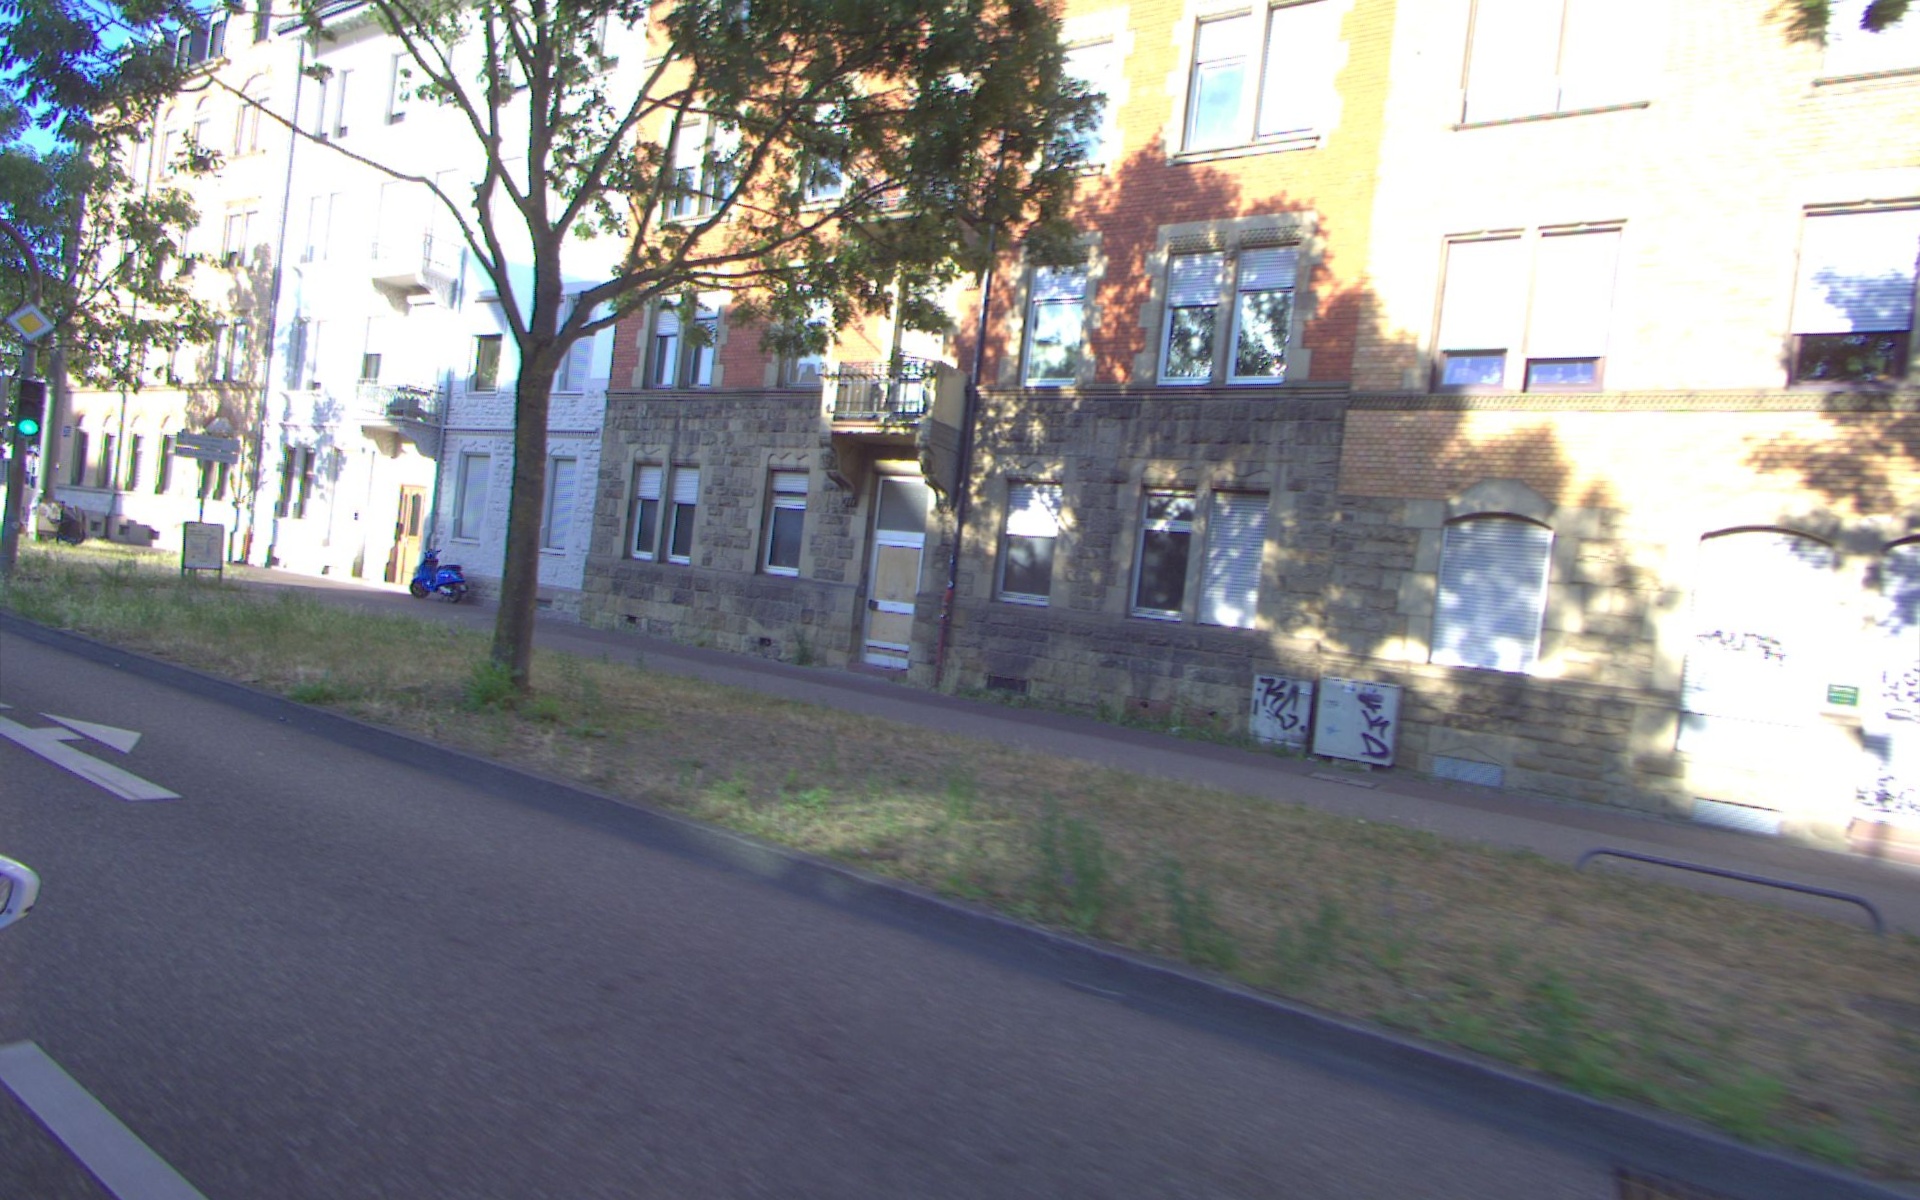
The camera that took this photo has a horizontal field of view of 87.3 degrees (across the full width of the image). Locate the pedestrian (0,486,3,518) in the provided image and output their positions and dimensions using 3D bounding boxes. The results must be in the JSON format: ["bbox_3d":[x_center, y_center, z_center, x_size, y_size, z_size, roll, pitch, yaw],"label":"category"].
[{"bbox_3d":[-50.749,-5.186,52.837,0.690,1.649,0.551,7,1,41],"label":"pedestrian"}]

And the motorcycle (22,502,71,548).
[{"bbox_3d":[-23.845,-1.961,26.249,1.718,1.057,0.604,7,0,38],"label":"motorcycle"}]

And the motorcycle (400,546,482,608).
[{"bbox_3d":[-12.119,-0.543,23.478,2.037,1.228,0.555,7,-1,30],"label":"motorcycle"}]
